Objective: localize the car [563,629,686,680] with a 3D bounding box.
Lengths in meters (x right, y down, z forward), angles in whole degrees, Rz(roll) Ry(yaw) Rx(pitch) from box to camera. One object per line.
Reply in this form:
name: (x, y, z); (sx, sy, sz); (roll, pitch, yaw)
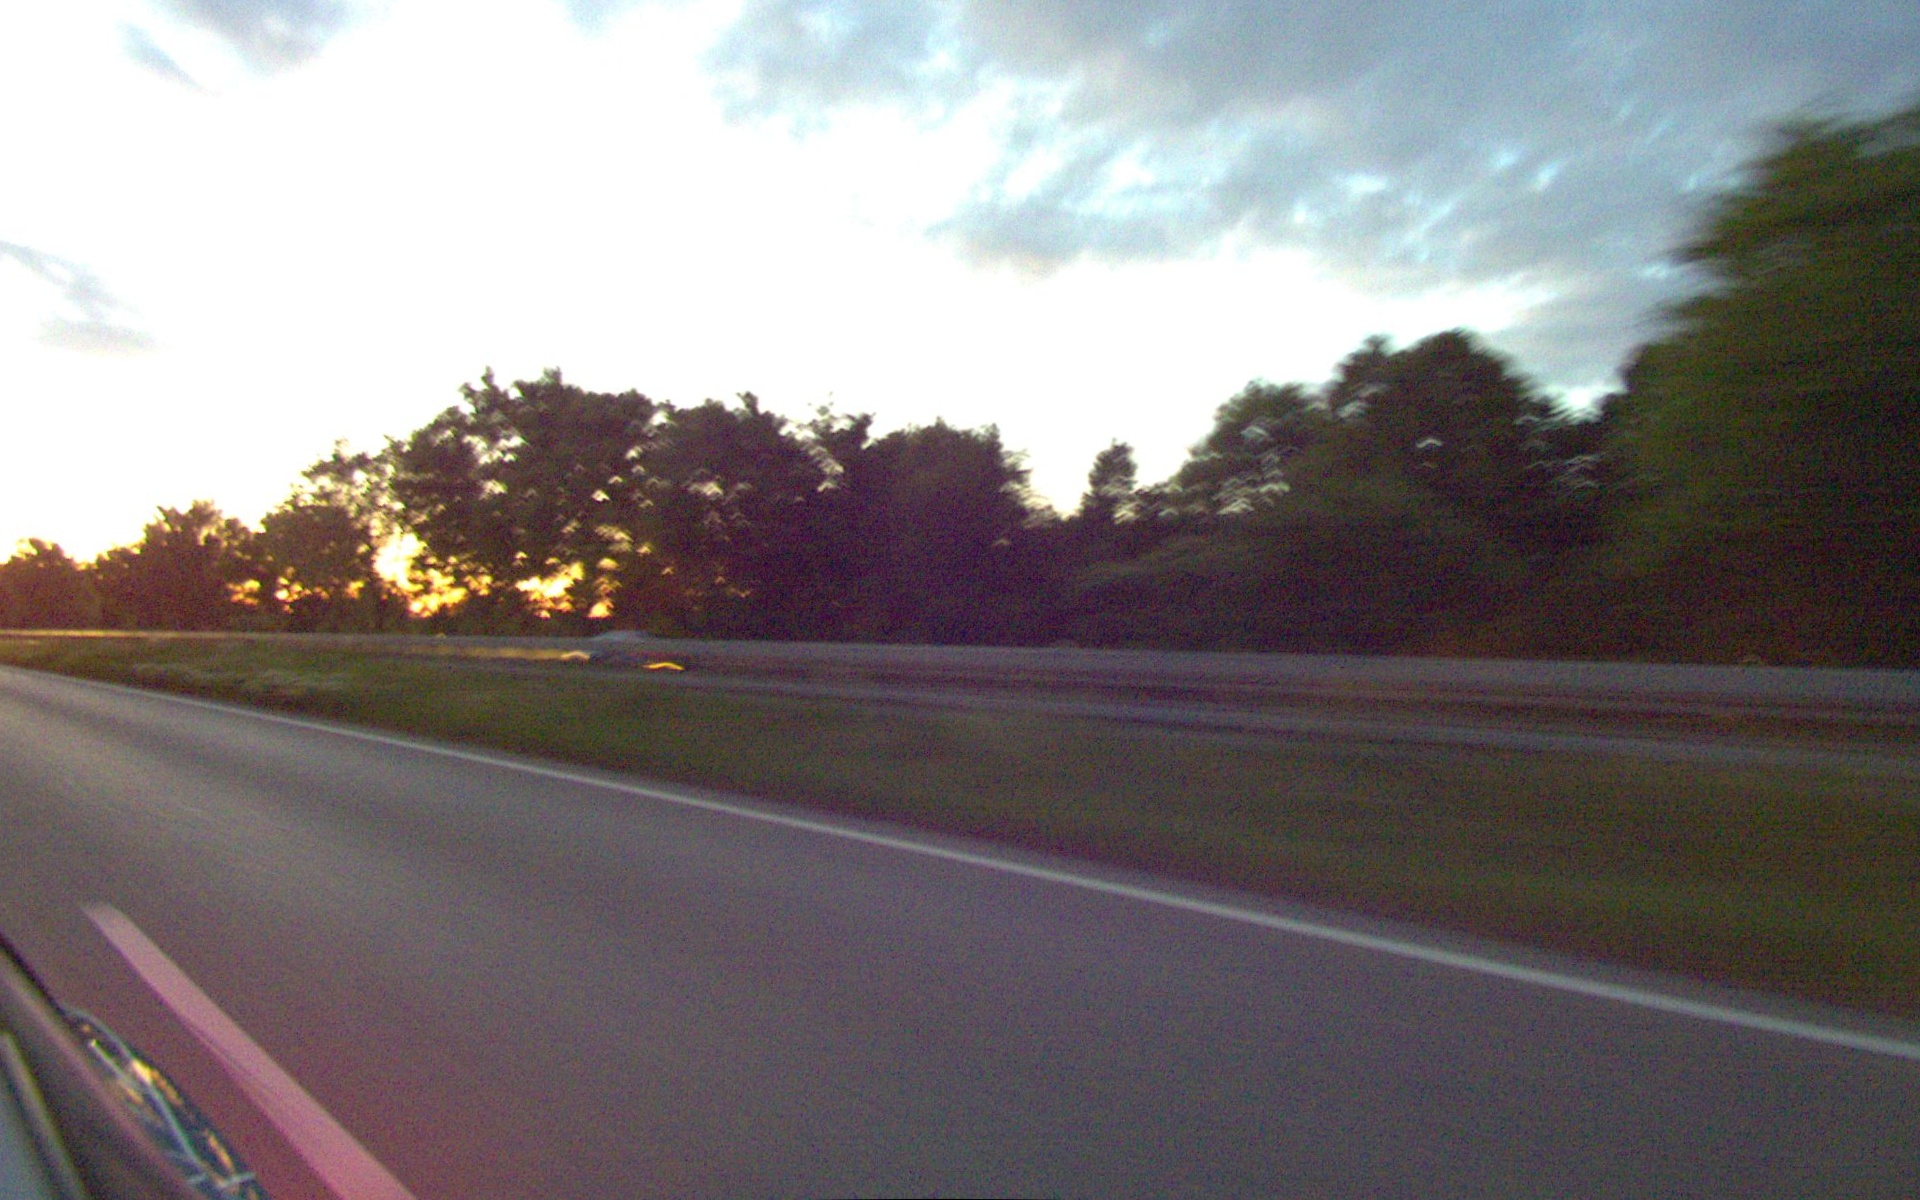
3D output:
car: (-9.670, 1.524, 29.073); (3.938, 1.333, 1.612); (-1, -1, 42)
